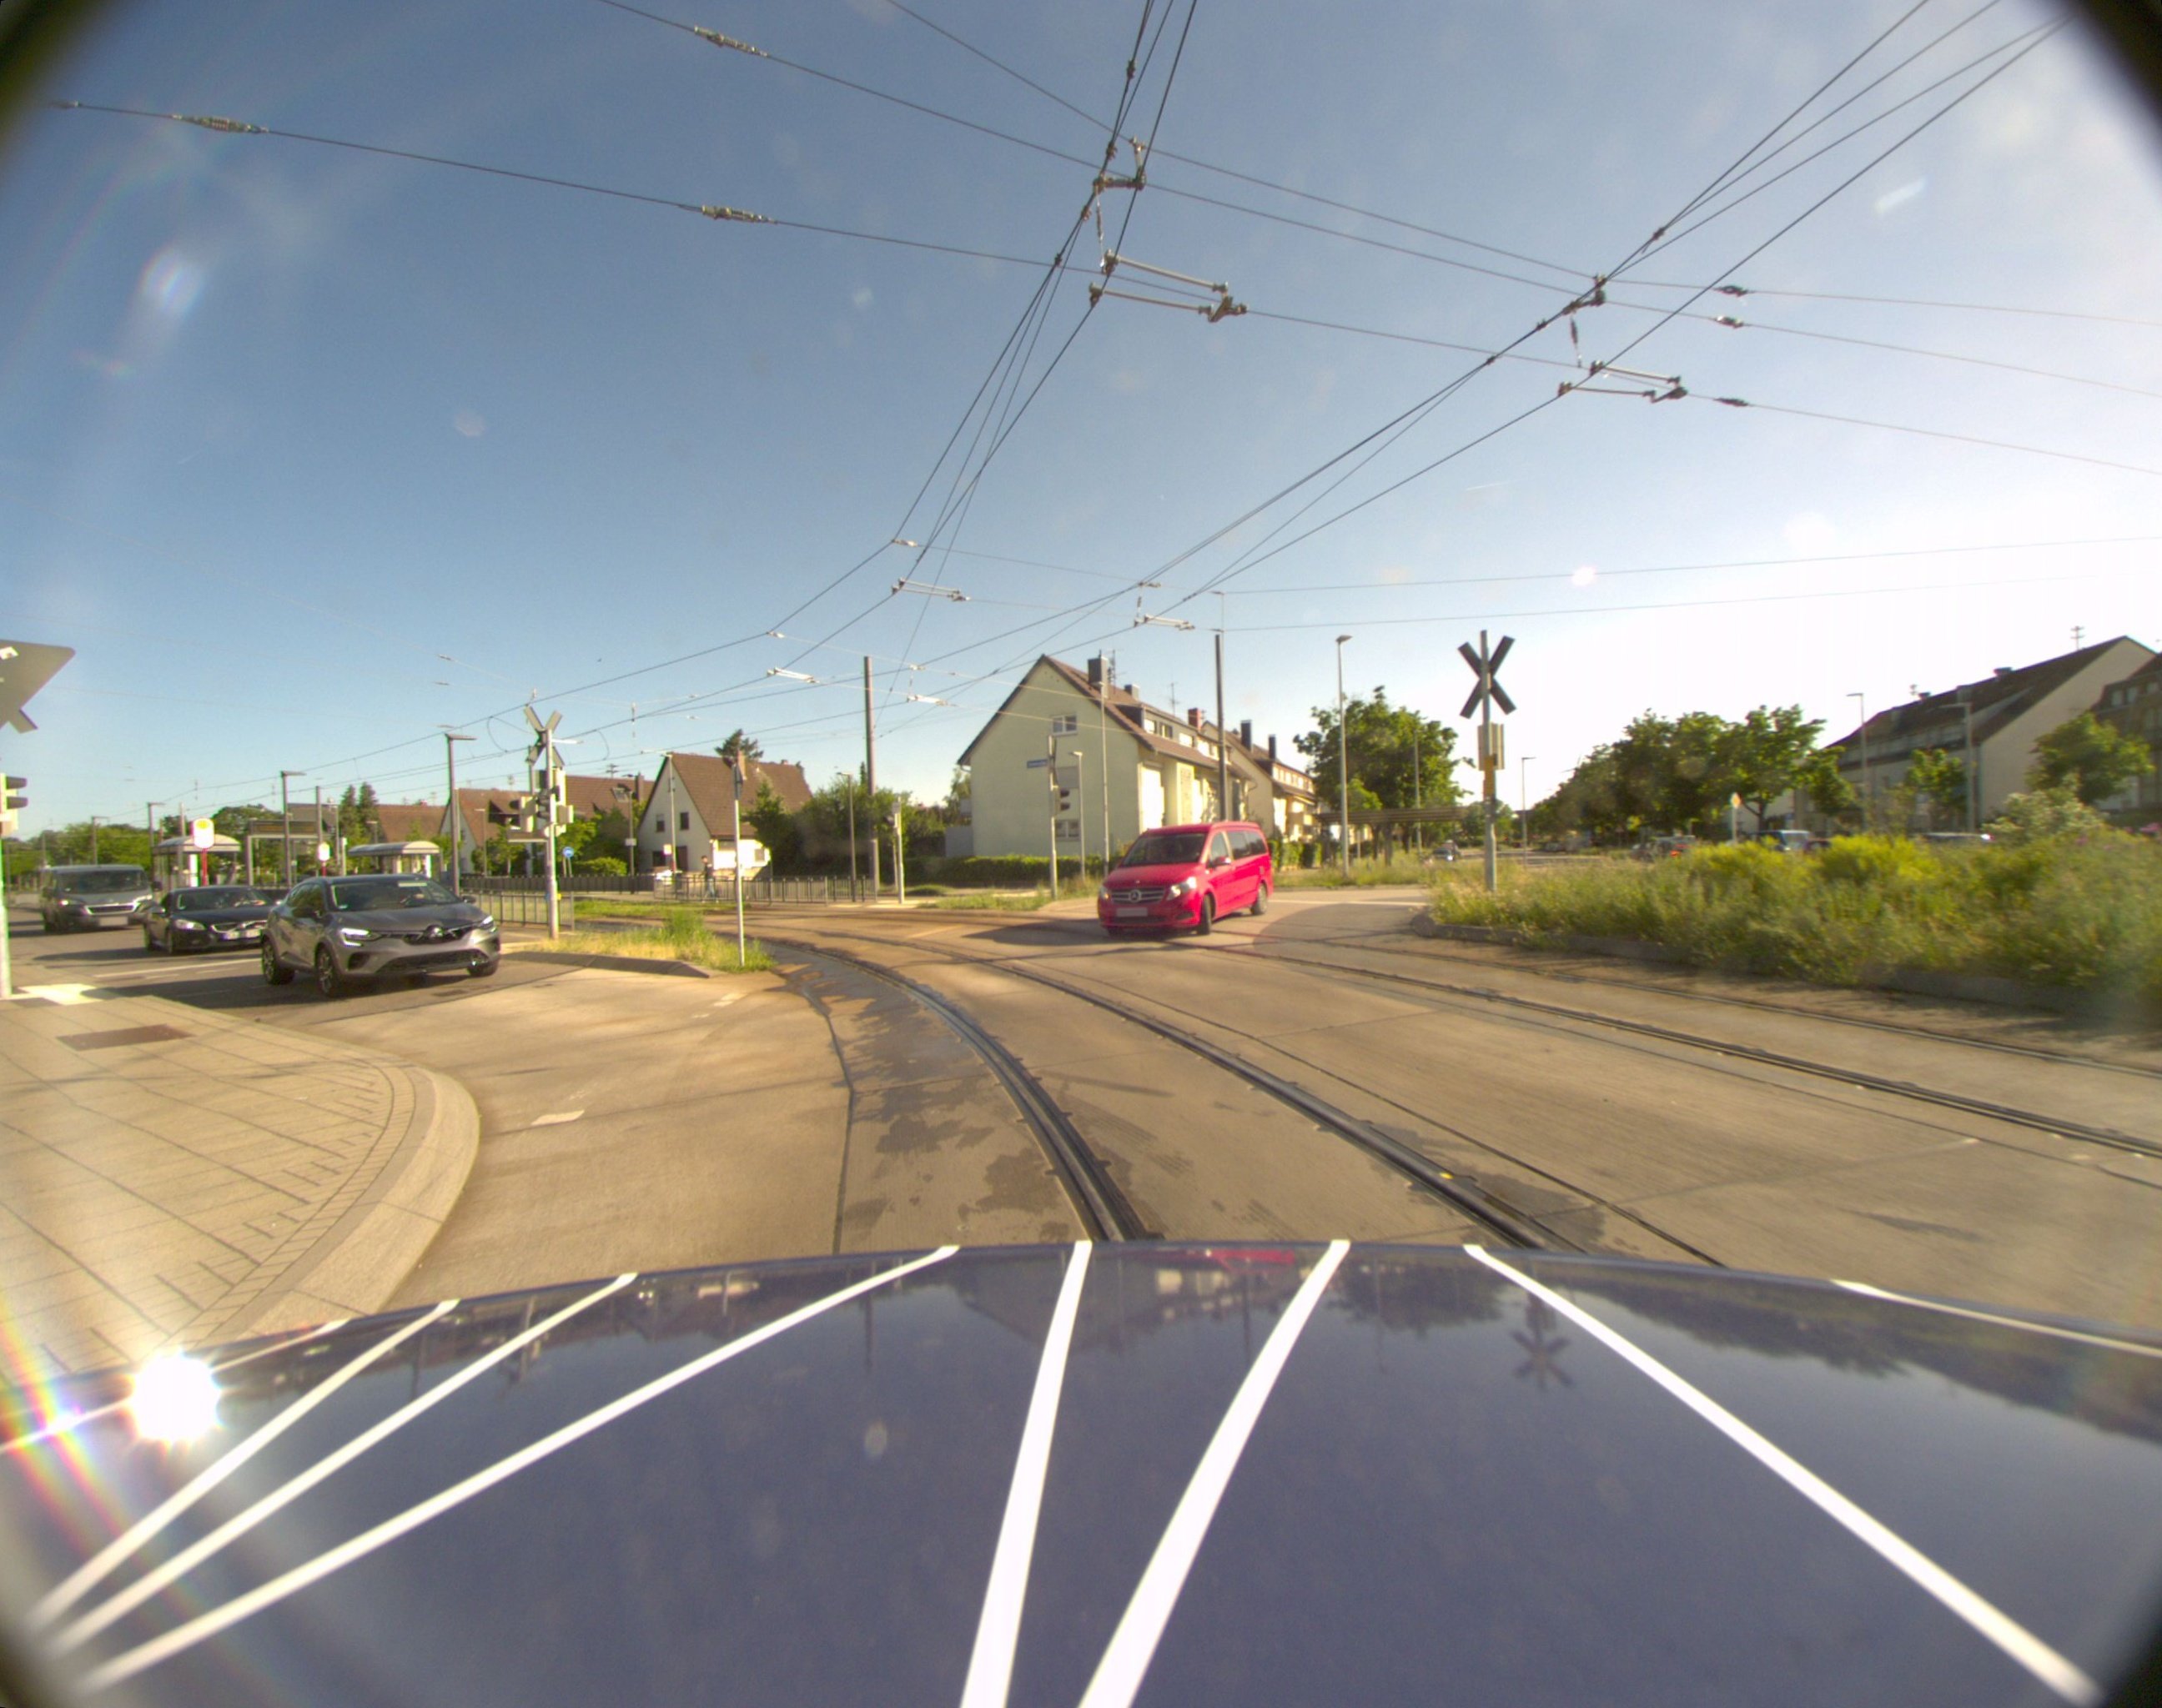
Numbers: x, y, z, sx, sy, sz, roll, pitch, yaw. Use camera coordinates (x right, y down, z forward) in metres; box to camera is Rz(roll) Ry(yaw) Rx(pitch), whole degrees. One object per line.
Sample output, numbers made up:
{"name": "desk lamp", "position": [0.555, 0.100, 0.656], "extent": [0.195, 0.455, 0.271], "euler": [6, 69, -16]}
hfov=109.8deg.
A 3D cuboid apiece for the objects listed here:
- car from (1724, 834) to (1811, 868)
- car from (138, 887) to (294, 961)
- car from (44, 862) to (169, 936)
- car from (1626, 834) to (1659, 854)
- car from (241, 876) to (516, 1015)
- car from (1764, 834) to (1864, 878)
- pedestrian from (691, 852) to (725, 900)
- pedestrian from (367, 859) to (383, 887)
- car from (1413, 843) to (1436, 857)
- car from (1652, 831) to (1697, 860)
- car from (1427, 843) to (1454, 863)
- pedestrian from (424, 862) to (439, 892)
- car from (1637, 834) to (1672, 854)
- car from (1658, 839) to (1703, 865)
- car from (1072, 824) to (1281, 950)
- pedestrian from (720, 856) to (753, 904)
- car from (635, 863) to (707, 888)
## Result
{"name": "car", "position": [34.949, -0.180, 38.732], "extent": [1.413, 1.611, 3.070], "euler": [-4, 3, -34]}
{"name": "car", "position": [-19.598, 1.503, 17.178], "extent": [3.989, 1.379, 1.691], "euler": [-2, 2, 33]}
{"name": "car", "position": [-33.280, 1.485, 25.915], "extent": [4.709, 2.227, 2.095], "euler": [-2, 2, 33]}
{"name": "car", "position": [50.163, -0.915, 67.973], "extent": [1.548, 1.667, 4.228], "euler": [-1, 0, 25]}
{"name": "car", "position": [-10.233, 1.185, 11.022], "extent": [3.989, 1.570, 1.834], "euler": [-2, 2, 32]}
{"name": "car", "position": [32.623, 0.055, 33.984], "extent": [1.995, 1.689, 4.377], "euler": [-1, 2, 26]}
{"name": "pedestrian", "position": [-13.976, 0.828, 28.504], "extent": [0.824, 1.761, 0.689], "euler": [0, 4, 7]}
{"name": "pedestrian", "position": [-44.611, 1.207, 48.008], "extent": [0.542, 1.742, 0.536], "euler": [-1, 1, 32]}
{"name": "car", "position": [33.999, -0.391, 75.189], "extent": [1.822, 1.384, 3.875], "euler": [-1, 0, 27]}
{"name": "car", "position": [45.914, -0.682, 58.888], "extent": [1.892, 2.003, 4.377], "euler": [-1, 2, 26]}
{"name": "car", "position": [28.648, -0.077, 60.452], "extent": [1.822, 1.385, 3.795], "euler": [-1, 2, 27]}
{"name": "pedestrian", "position": [-38.141, 1.325, 44.618], "extent": [0.624, 1.742, 0.440], "euler": [-2, 1, -40]}
{"name": "car", "position": [48.242, -0.835, 63.937], "extent": [1.542, 1.582, 4.083], "euler": [-2, 0, 25]}
{"name": "car", "position": [42.287, -0.139, 53.671], "extent": [1.919, 1.607, 4.290], "euler": [-1, 2, 30]}
{"name": "car", "position": [2.079, 0.461, 14.618], "extent": [1.995, 1.970, 5.247], "euler": [-1, 1, 31]}
{"name": "pedestrian", "position": [-12.429, 0.928, 27.453], "extent": [0.726, 1.652, 0.796], "euler": [0, 4, 7]}
{"name": "car", "position": [-28.843, 1.480, 53.536], "extent": [1.995, 1.526, 3.998], "euler": [-2, 0, 29]}
